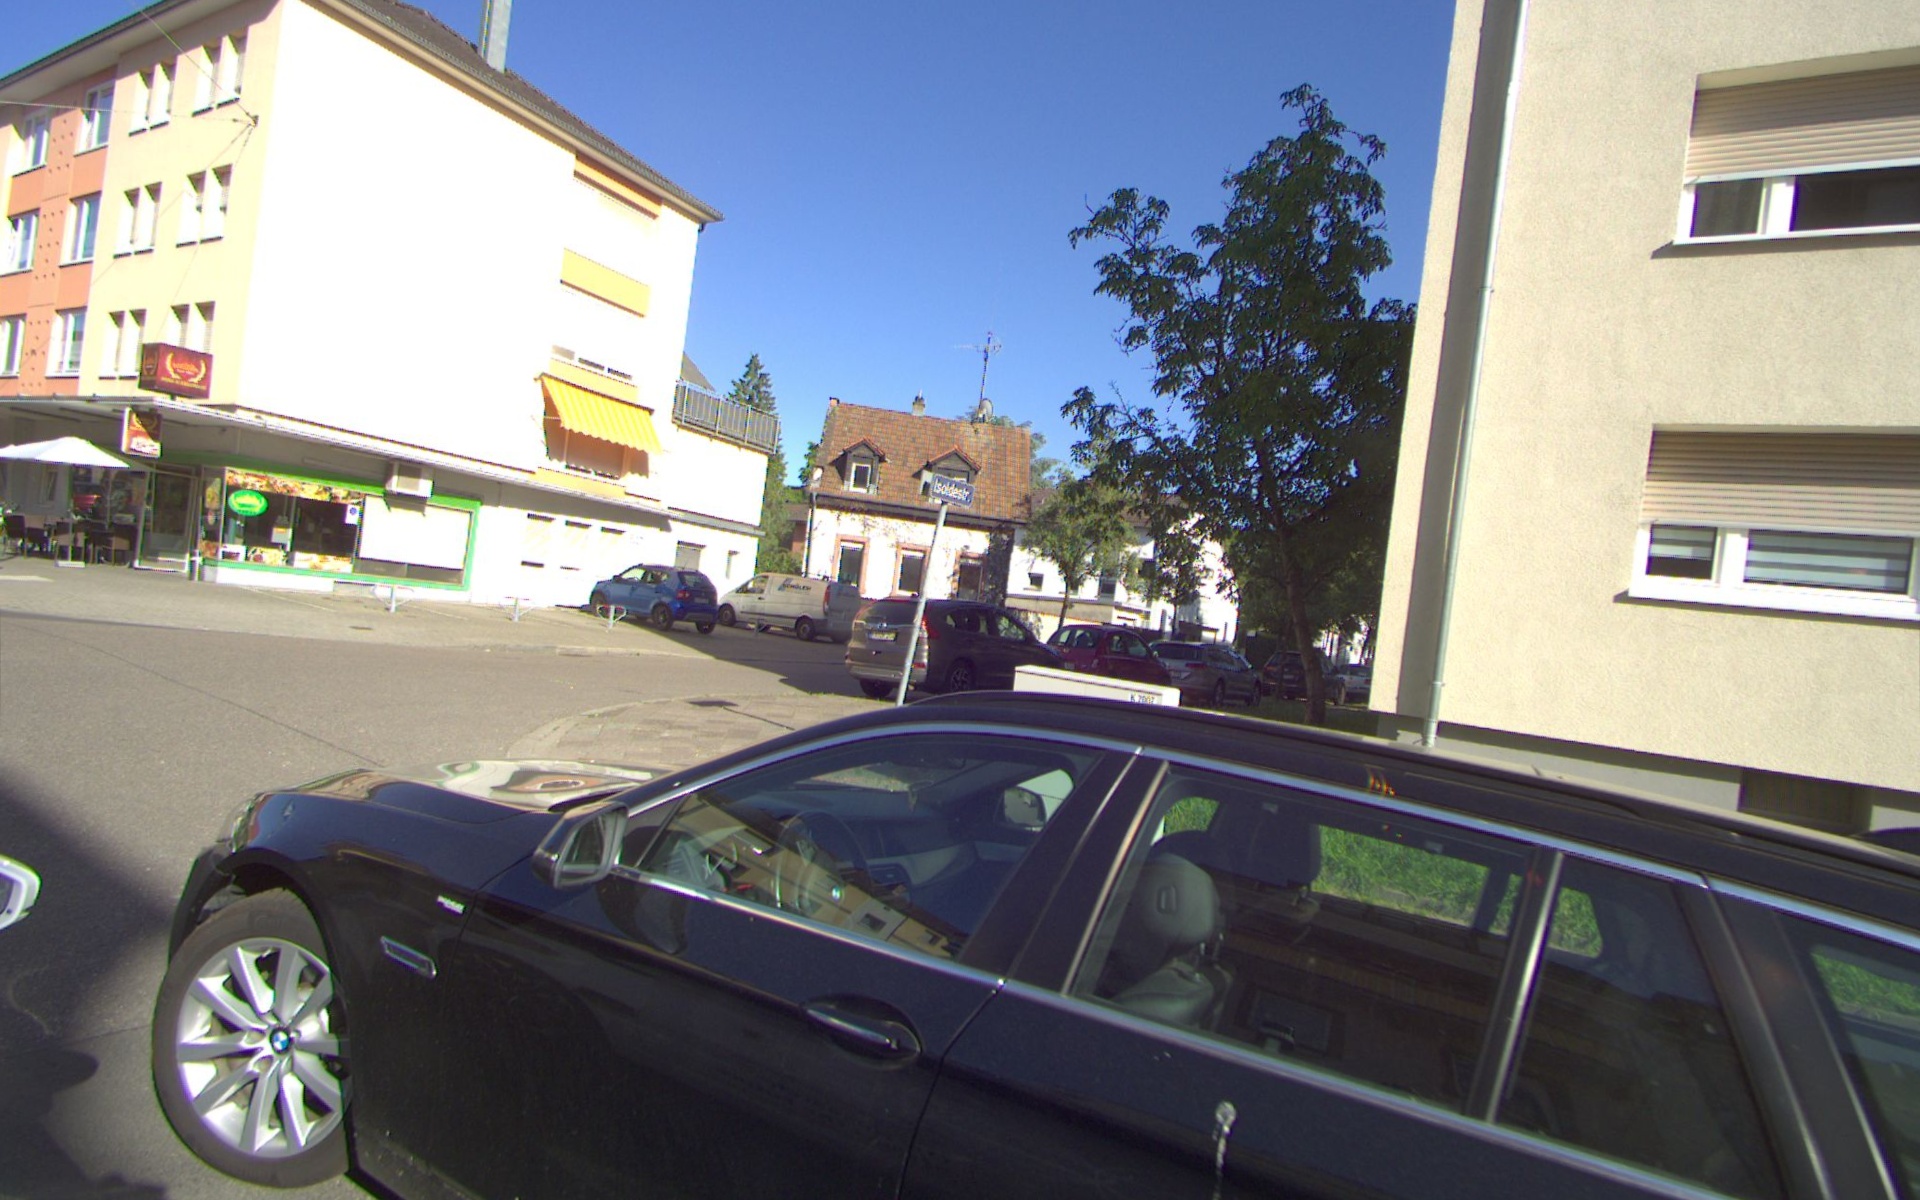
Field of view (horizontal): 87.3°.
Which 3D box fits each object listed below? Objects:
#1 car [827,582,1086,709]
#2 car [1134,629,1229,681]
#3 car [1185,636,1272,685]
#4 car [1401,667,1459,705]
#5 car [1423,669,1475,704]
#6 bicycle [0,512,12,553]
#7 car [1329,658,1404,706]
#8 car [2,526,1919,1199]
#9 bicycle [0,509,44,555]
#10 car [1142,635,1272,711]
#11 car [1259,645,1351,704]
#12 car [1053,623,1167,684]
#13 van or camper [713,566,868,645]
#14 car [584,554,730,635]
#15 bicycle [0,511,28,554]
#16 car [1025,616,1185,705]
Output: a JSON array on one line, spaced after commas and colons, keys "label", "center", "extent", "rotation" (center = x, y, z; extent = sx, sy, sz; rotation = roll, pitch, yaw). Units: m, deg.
[{"label": "car", "center": [0.083, 0.812, 16.385], "extent": [1.797, 1.632, 4.240], "rotation": [7, -1, 39]}, {"label": "car", "center": [8.432, 2.112, 38.105], "extent": [1.755, 1.562, 4.072], "rotation": [7, -1, 38]}, {"label": "car", "center": [11.184, 2.524, 41.719], "extent": [1.797, 1.632, 4.241], "rotation": [7, -1, 38]}, {"label": "car", "center": [22.179, 4.064, 47.415], "extent": [1.659, 1.514, 3.801], "rotation": [7, -1, 36]}, {"label": "car", "center": [25.342, 4.498, 52.055], "extent": [1.659, 1.514, 3.801], "rotation": [7, -1, 36]}, {"label": "bicycle", "center": [-23.916, -1.727, 23.943], "extent": [0.661, 0.979, 1.812], "rotation": [7, 0, 21]}, {"label": "car", "center": [15.361, 3.114, 37.911], "extent": [1.659, 1.514, 3.801], "rotation": [7, -1, 36]}, {"label": "car", "center": [0.088, 0.874, 2.368], "extent": [4.693, 1.541, 1.858], "rotation": [6, -1, 27]}, {"label": "bicycle", "center": [-22.733, -1.663, 23.510], "extent": [0.661, 0.979, 1.812], "rotation": [7, 0, 21]}, {"label": "car", "center": [6.012, 1.789, 24.253], "extent": [1.473, 1.514, 3.799], "rotation": [7, -1, 38]}, {"label": "car", "center": [11.195, 2.439, 32.506], "extent": [1.659, 1.571, 3.801], "rotation": [7, 0, 36]}, {"label": "car", "center": [5.119, 1.825, 33.867], "extent": [1.797, 1.632, 4.241], "rotation": [7, -1, 38]}, {"label": "van or camper", "center": [-5.211, 0.165, 30.803], "extent": [4.400, 1.835, 1.775], "rotation": [7, 0, 30]}, {"label": "car", "center": [-7.854, -0.146, 26.042], "extent": [3.416, 1.633, 1.581], "rotation": [7, 0, 30]}, {"label": "bicycle", "center": [-23.328, -1.683, 23.723], "extent": [0.661, 0.979, 1.812], "rotation": [7, 0, 21]}, {"label": "car", "center": [3.011, 1.279, 20.419], "extent": [1.473, 1.490, 3.599], "rotation": [7, -1, 38]}]
